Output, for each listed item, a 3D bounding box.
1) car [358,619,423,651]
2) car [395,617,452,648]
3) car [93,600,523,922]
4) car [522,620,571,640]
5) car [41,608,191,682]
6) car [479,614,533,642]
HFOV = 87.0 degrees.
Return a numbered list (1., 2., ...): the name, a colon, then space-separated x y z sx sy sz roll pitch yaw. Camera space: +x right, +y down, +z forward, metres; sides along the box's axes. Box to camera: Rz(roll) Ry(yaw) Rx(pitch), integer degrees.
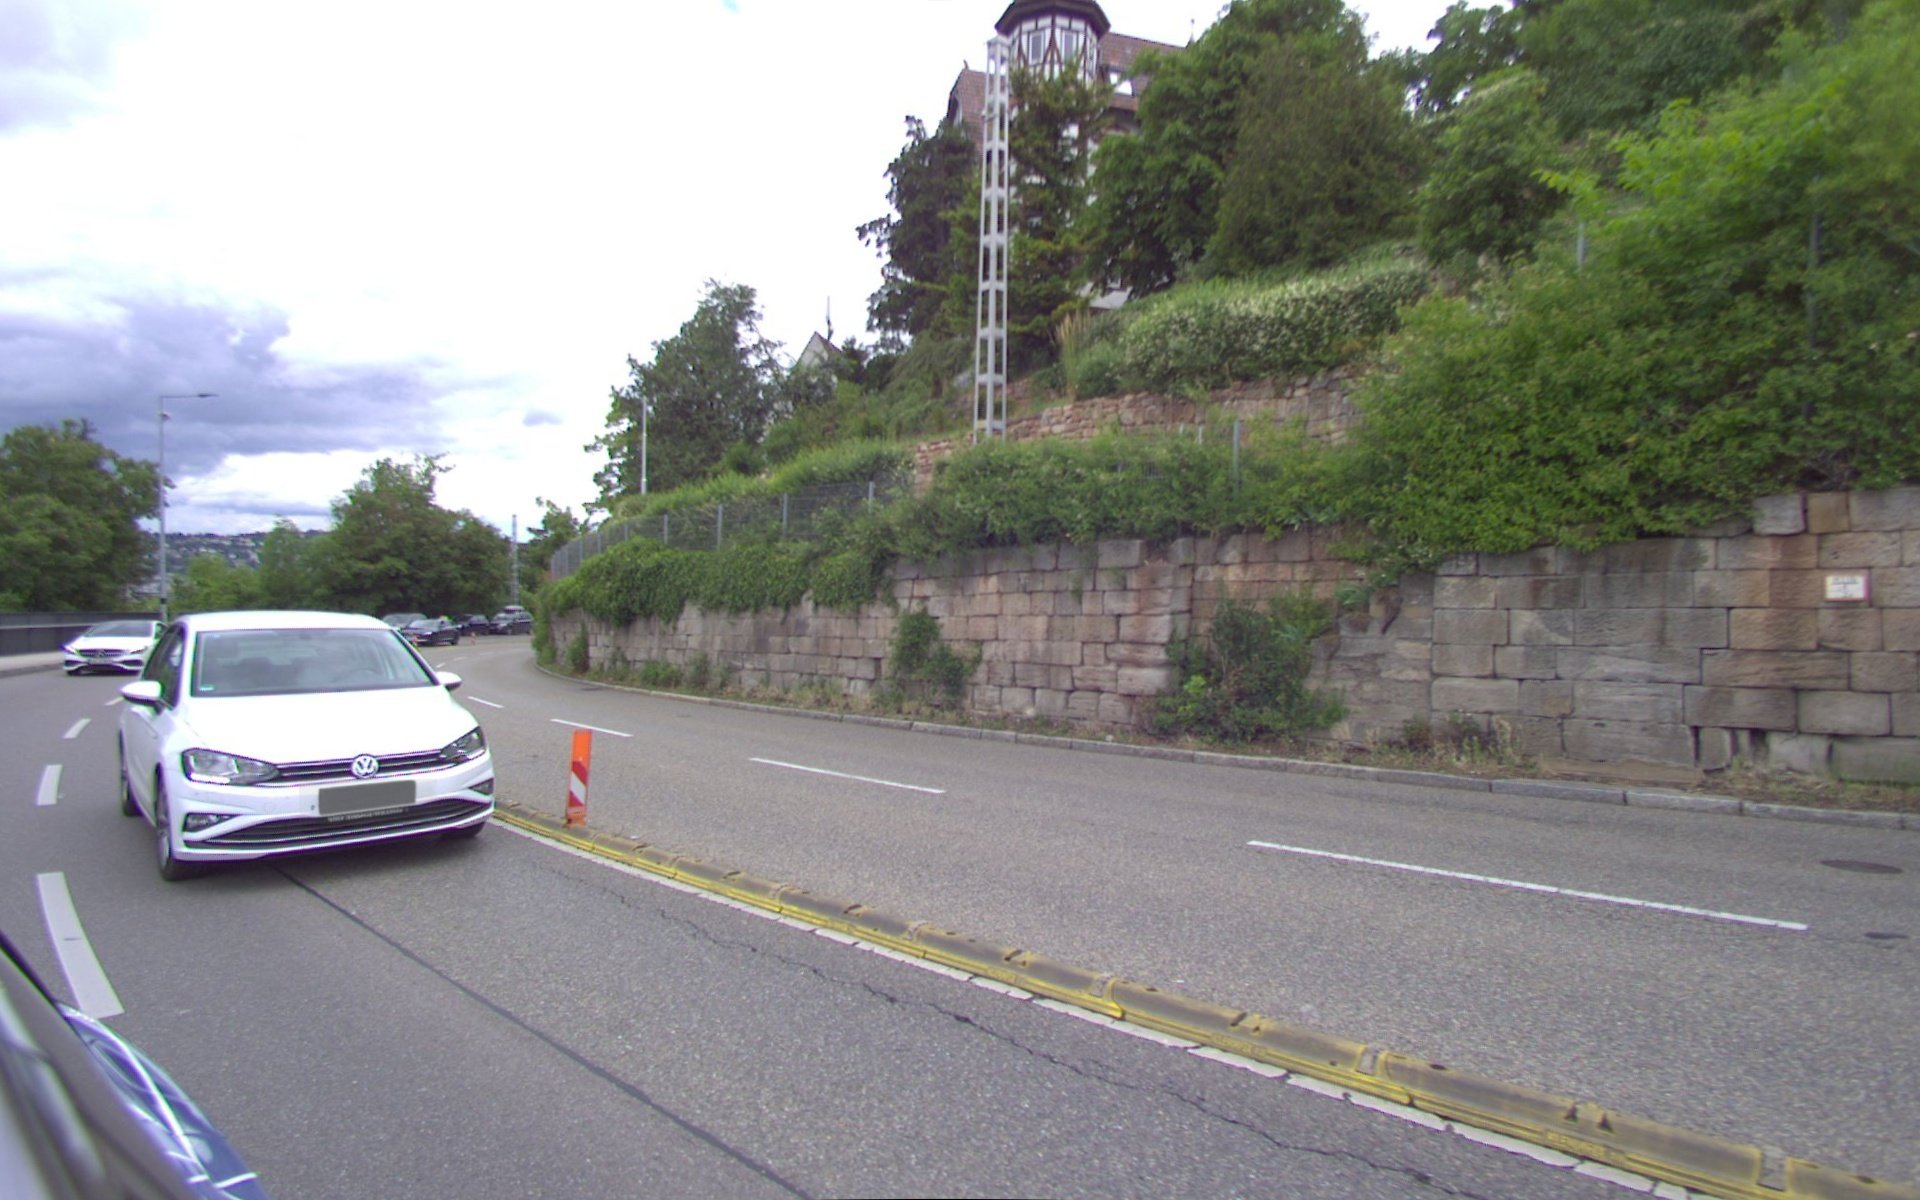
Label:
1. car: -31.366 1.892 55.852 1.871 1.505 4.151 0 1 -11
2. car: -28.175 1.681 53.277 1.892 1.505 4.154 1 0 -17
3. car: -4.860 0.848 7.232 1.799 1.592 4.360 1 -2 -44
4. car: -33.338 2.429 81.738 1.911 1.444 3.991 2 -2 7
5. car: -22.543 1.158 27.236 1.965 1.731 4.013 3 -1 -23
6. car: -33.755 2.076 75.358 1.678 1.845 4.397 4 -1 5
